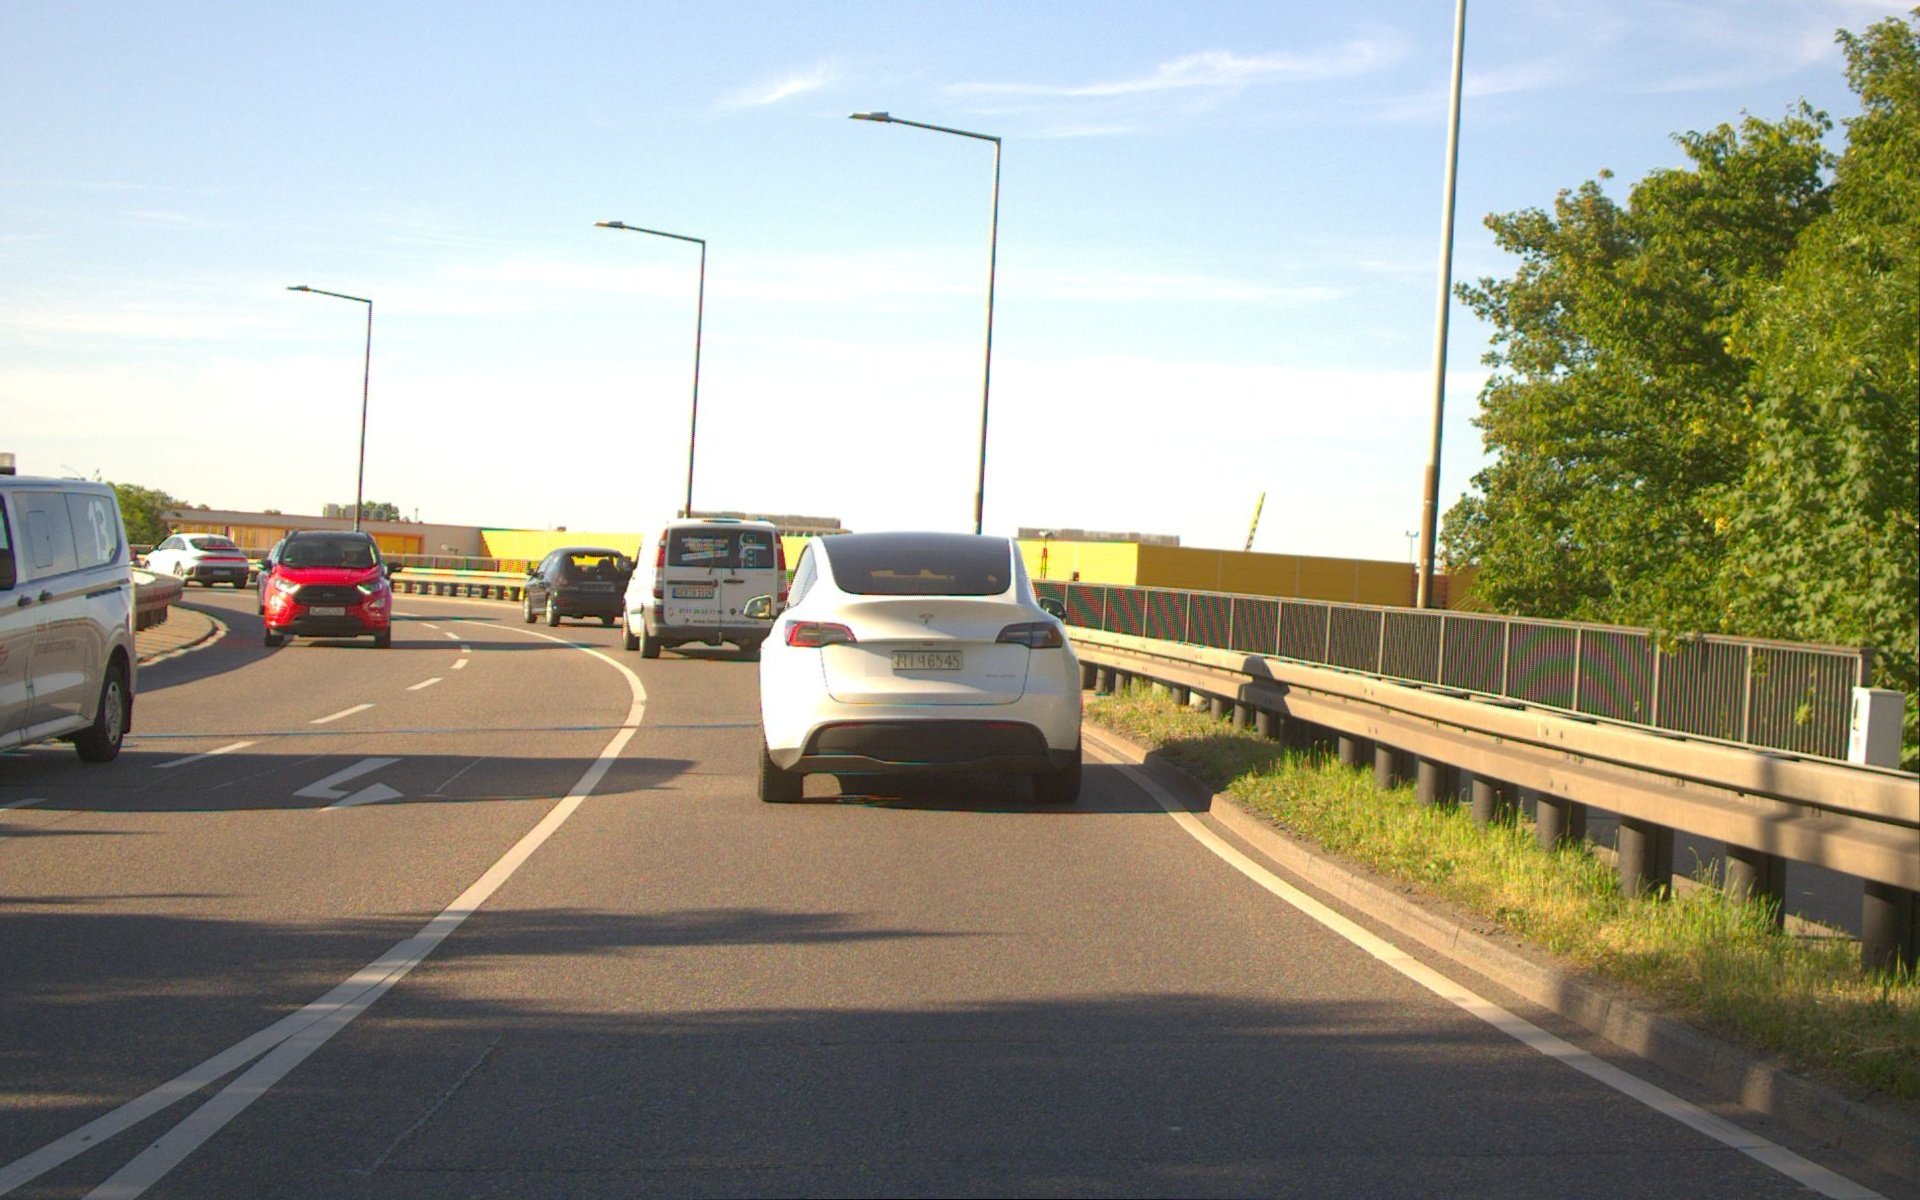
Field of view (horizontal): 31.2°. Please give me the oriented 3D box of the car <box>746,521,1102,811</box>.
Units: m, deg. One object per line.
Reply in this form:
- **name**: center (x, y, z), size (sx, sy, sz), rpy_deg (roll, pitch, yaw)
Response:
- **car**: center (-0.328, 0.341, 21.487), size (1.985, 1.632, 4.063), rpy_deg (0, 1, -4)

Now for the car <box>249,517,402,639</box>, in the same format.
- **car**: center (-9.039, -0.344, 49.213), size (1.804, 1.632, 4.001), rpy_deg (1, 1, -6)

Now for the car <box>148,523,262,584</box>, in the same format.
- **car**: center (-21.041, -1.303, 95.690), size (1.859, 1.579, 3.914), rpy_deg (1, 1, -32)

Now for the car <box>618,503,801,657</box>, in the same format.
- **car**: center (-3.459, -0.301, 46.693), size (2.004, 1.934, 4.469), rpy_deg (1, 1, -10)

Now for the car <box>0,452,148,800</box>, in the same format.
- **car**: center (-6.756, 0.119, 21.743), size (1.949, 2.105, 5.271), rpy_deg (1, 1, 0)

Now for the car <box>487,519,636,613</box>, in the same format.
- **car**: center (-7.217, -0.620, 61.926), size (1.968, 1.632, 4.001), rpy_deg (0, 1, -17)
